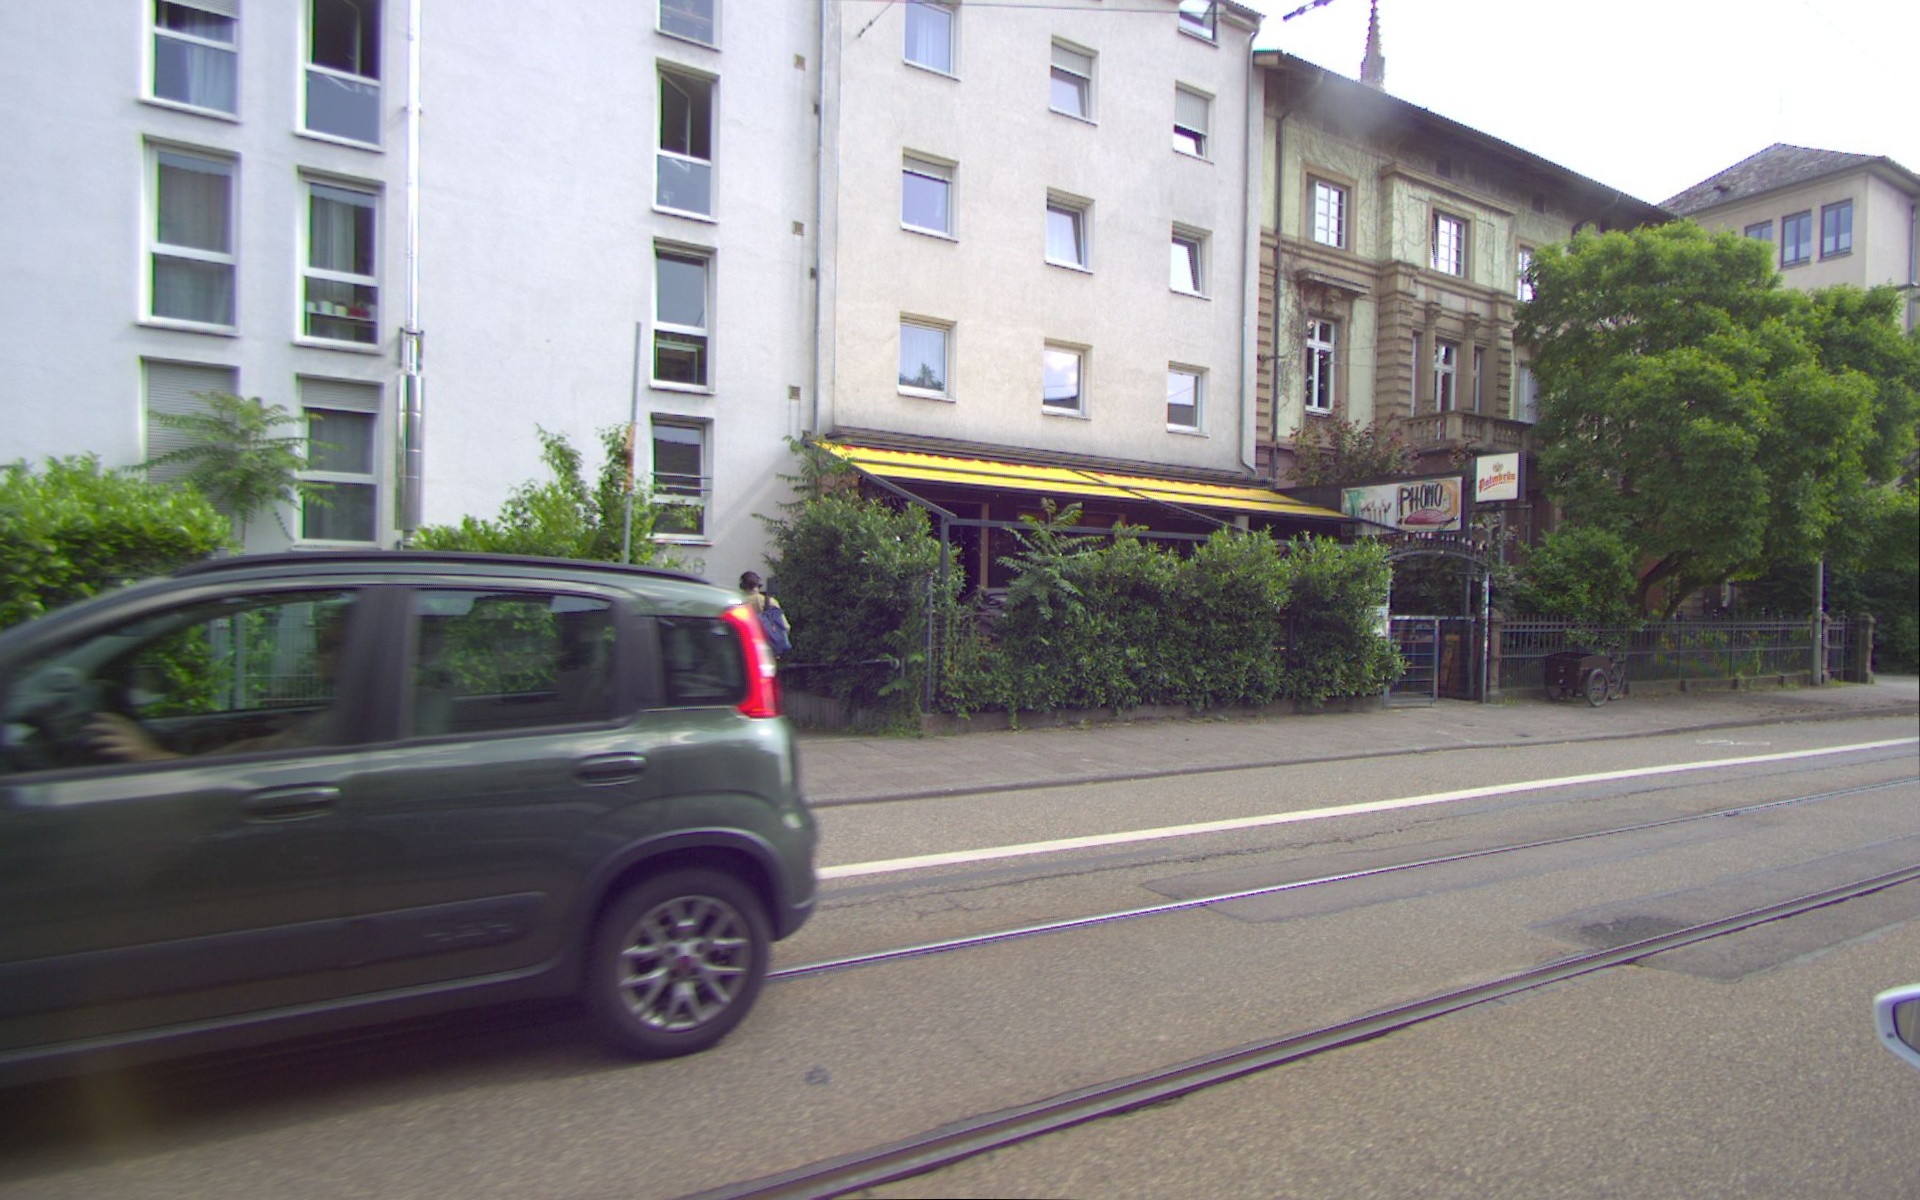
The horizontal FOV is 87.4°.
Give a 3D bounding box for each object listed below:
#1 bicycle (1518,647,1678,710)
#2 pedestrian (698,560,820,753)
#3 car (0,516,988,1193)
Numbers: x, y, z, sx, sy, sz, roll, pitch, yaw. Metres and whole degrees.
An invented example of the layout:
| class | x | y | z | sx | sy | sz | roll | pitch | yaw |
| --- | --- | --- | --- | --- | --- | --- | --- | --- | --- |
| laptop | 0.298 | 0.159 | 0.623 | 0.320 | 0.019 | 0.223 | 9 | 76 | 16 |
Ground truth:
| class | x | y | z | sx | sy | sz | roll | pitch | yaw |
| --- | --- | --- | --- | --- | --- | --- | --- | --- | --- |
| bicycle | 11.447 | 1.370 | 17.996 | 2.953 | 0.921 | 1.137 | 1 | 3 | -30 |
| pedestrian | -2.154 | 0.577 | 10.737 | 1.050 | 1.943 | 0.823 | 1 | 0 | -30 |
| car | -1.936 | 0.602 | 3.440 | 3.776 | 1.577 | 1.624 | 1 | 0 | -30 |
